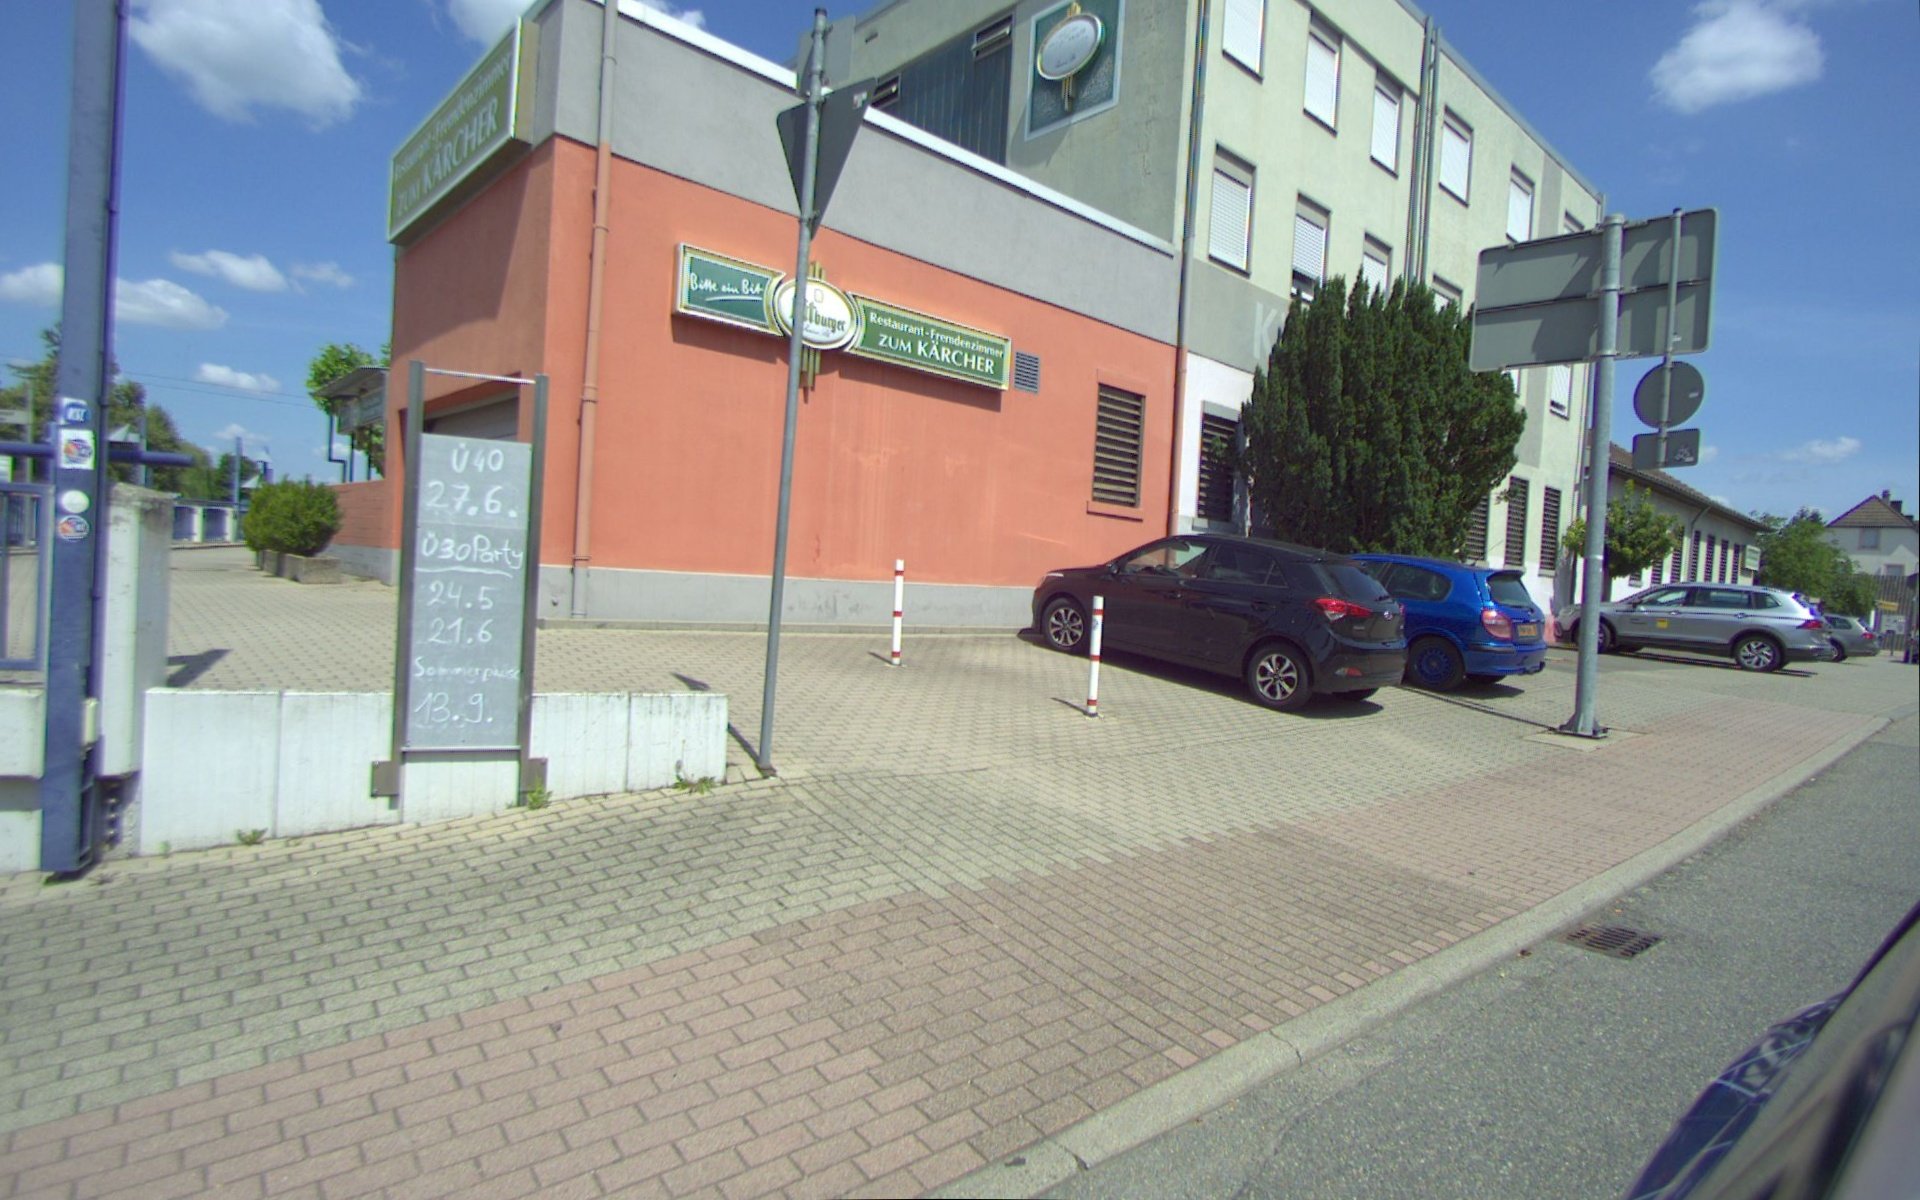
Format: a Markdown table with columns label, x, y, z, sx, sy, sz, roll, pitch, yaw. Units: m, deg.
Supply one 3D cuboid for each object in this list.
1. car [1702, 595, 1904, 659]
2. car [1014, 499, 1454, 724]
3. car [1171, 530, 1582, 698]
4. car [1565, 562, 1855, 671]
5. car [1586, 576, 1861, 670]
| label | x | y | z | sx | sy | sz | roll | pitch | yaw |
| --- | --- | --- | --- | --- | --- | --- | --- | --- | --- |
| car | 26.207 | 0.811 | 31.593 | 1.884 | 1.471 | 4.537 | 3 | 3 | -42 |
| car | 2.647 | -0.035 | 10.453 | 1.780 | 1.506 | 3.906 | 0 | 10 | -43 |
| car | 4.991 | 0.025 | 12.646 | 1.750 | 1.456 | 4.333 | -1 | 7 | -42 |
| car | 15.312 | 0.275 | 20.851 | 1.890 | 1.717 | 4.460 | 2 | 4 | -44 |
| car | 16.831 | 0.451 | 22.498 | 1.966 | 1.538 | 4.510 | 2 | 3 | -42 |
